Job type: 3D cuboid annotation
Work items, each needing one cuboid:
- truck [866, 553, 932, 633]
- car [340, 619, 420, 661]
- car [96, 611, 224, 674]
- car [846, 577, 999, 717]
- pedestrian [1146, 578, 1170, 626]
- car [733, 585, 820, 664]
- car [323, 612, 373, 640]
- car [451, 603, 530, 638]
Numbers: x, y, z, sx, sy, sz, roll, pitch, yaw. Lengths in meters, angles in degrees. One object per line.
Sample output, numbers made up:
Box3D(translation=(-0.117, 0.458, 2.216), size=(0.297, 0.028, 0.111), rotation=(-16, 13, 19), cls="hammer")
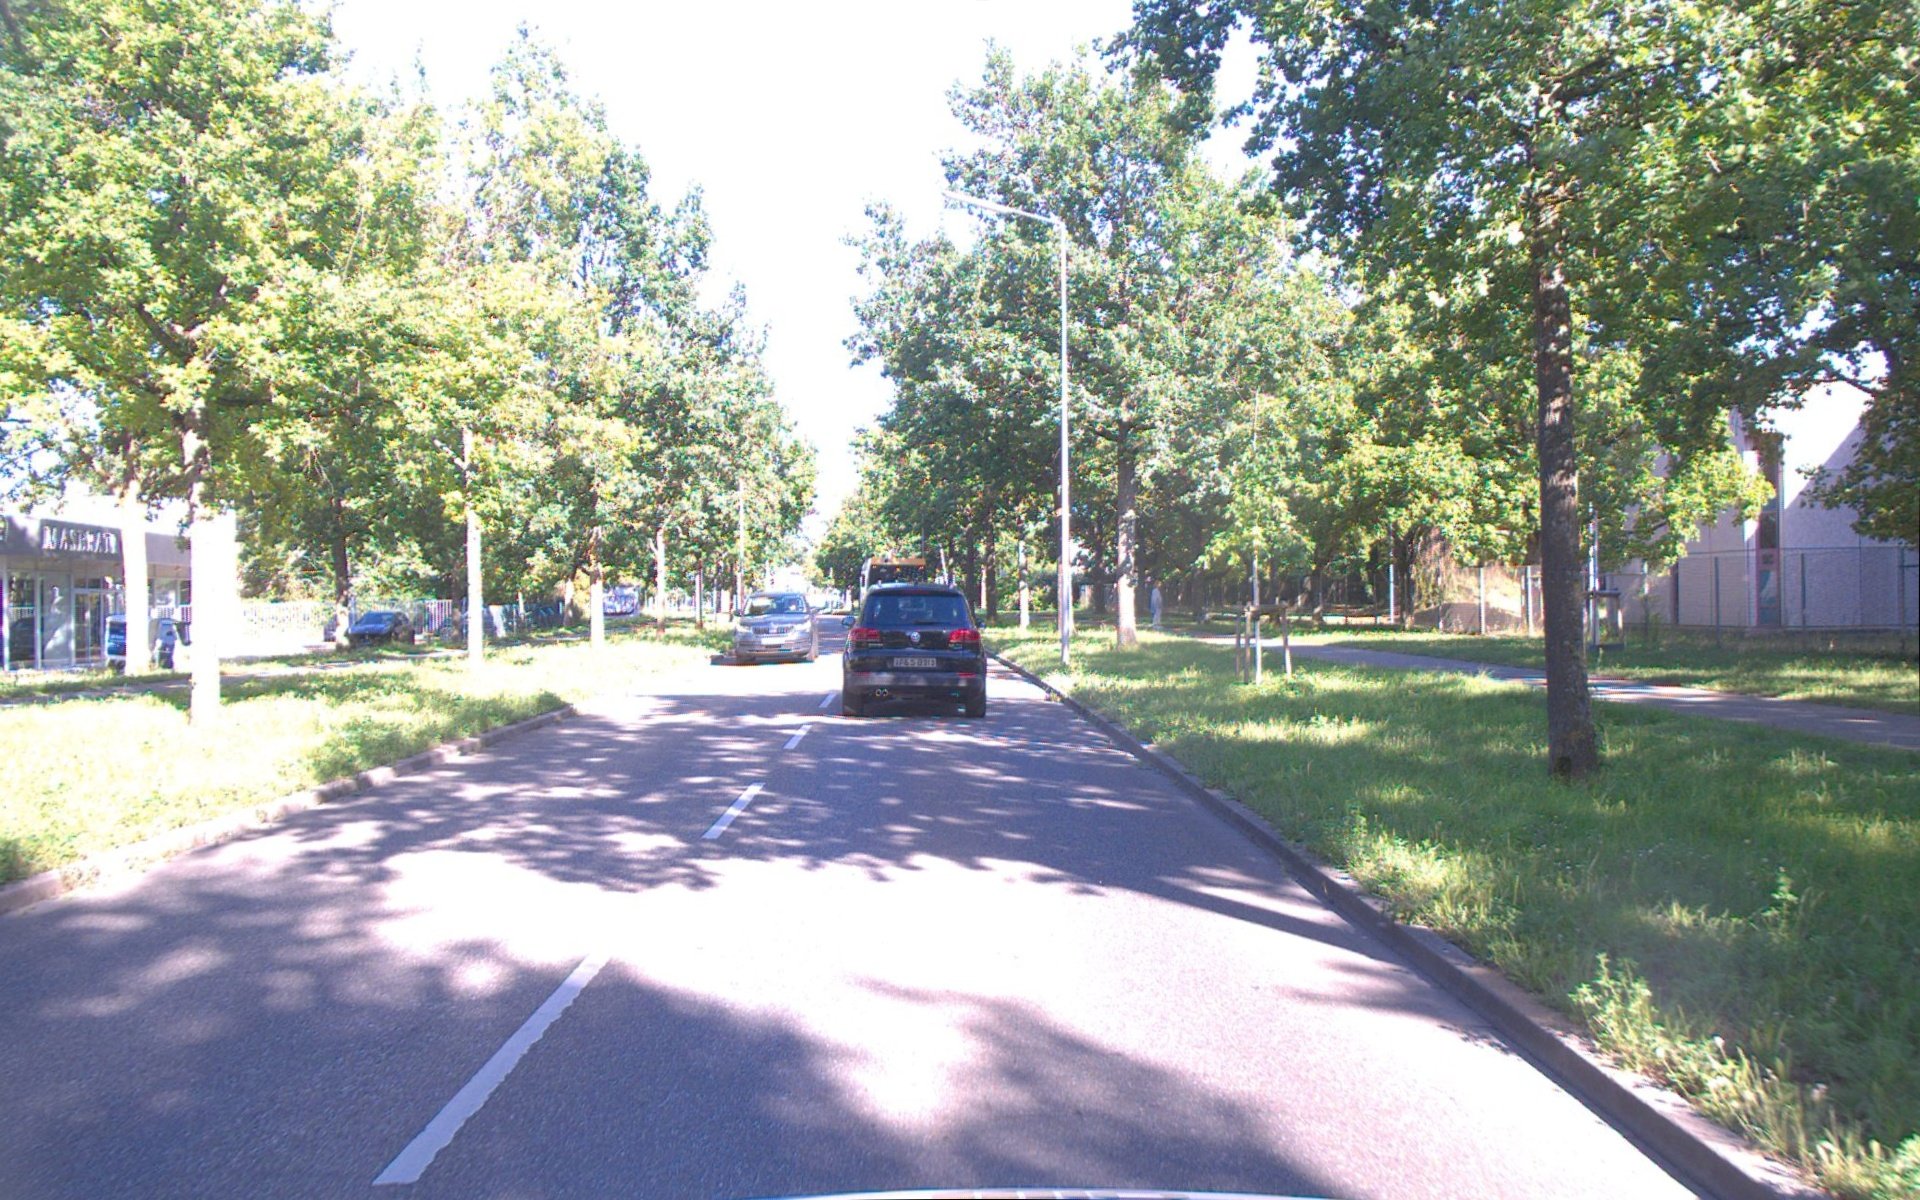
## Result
Box3D(translation=(-2.770, -0.291, 73.056), size=(2.463, 3.300, 8.143), rotation=(-1, 0, -5), cls="truck")
Box3D(translation=(-24.645, 1.676, 70.450), size=(1.954, 1.625, 5.010), rotation=(1, 0, -4), cls="car")
Box3D(translation=(-19.753, 1.051, 40.874), size=(2.512, 1.495, 1.427), rotation=(-1, 0, 14), cls="car")
Box3D(translation=(-0.582, 0.572, 21.870), size=(1.747, 1.662, 3.996), rotation=(1, 0, -5), cls="car")
Box3D(translation=(7.054, 0.062, 59.024), size=(0.701, 1.659, 0.610), rotation=(-3, 1, 14), cls="pedestrian")
Box3D(translation=(-4.258, 0.551, 38.925), size=(1.732, 1.701, 4.197), rotation=(-2, 0, -3), cls="car")
Box3D(translation=(-36.680, 1.548, 99.214), size=(1.957, 1.594, 4.874), rotation=(1, 0, -10), cls="car")
Box3D(translation=(-25.331, 1.099, 89.314), size=(3.915, 1.833, 1.995), rotation=(1, 0, -11), cls="car")
